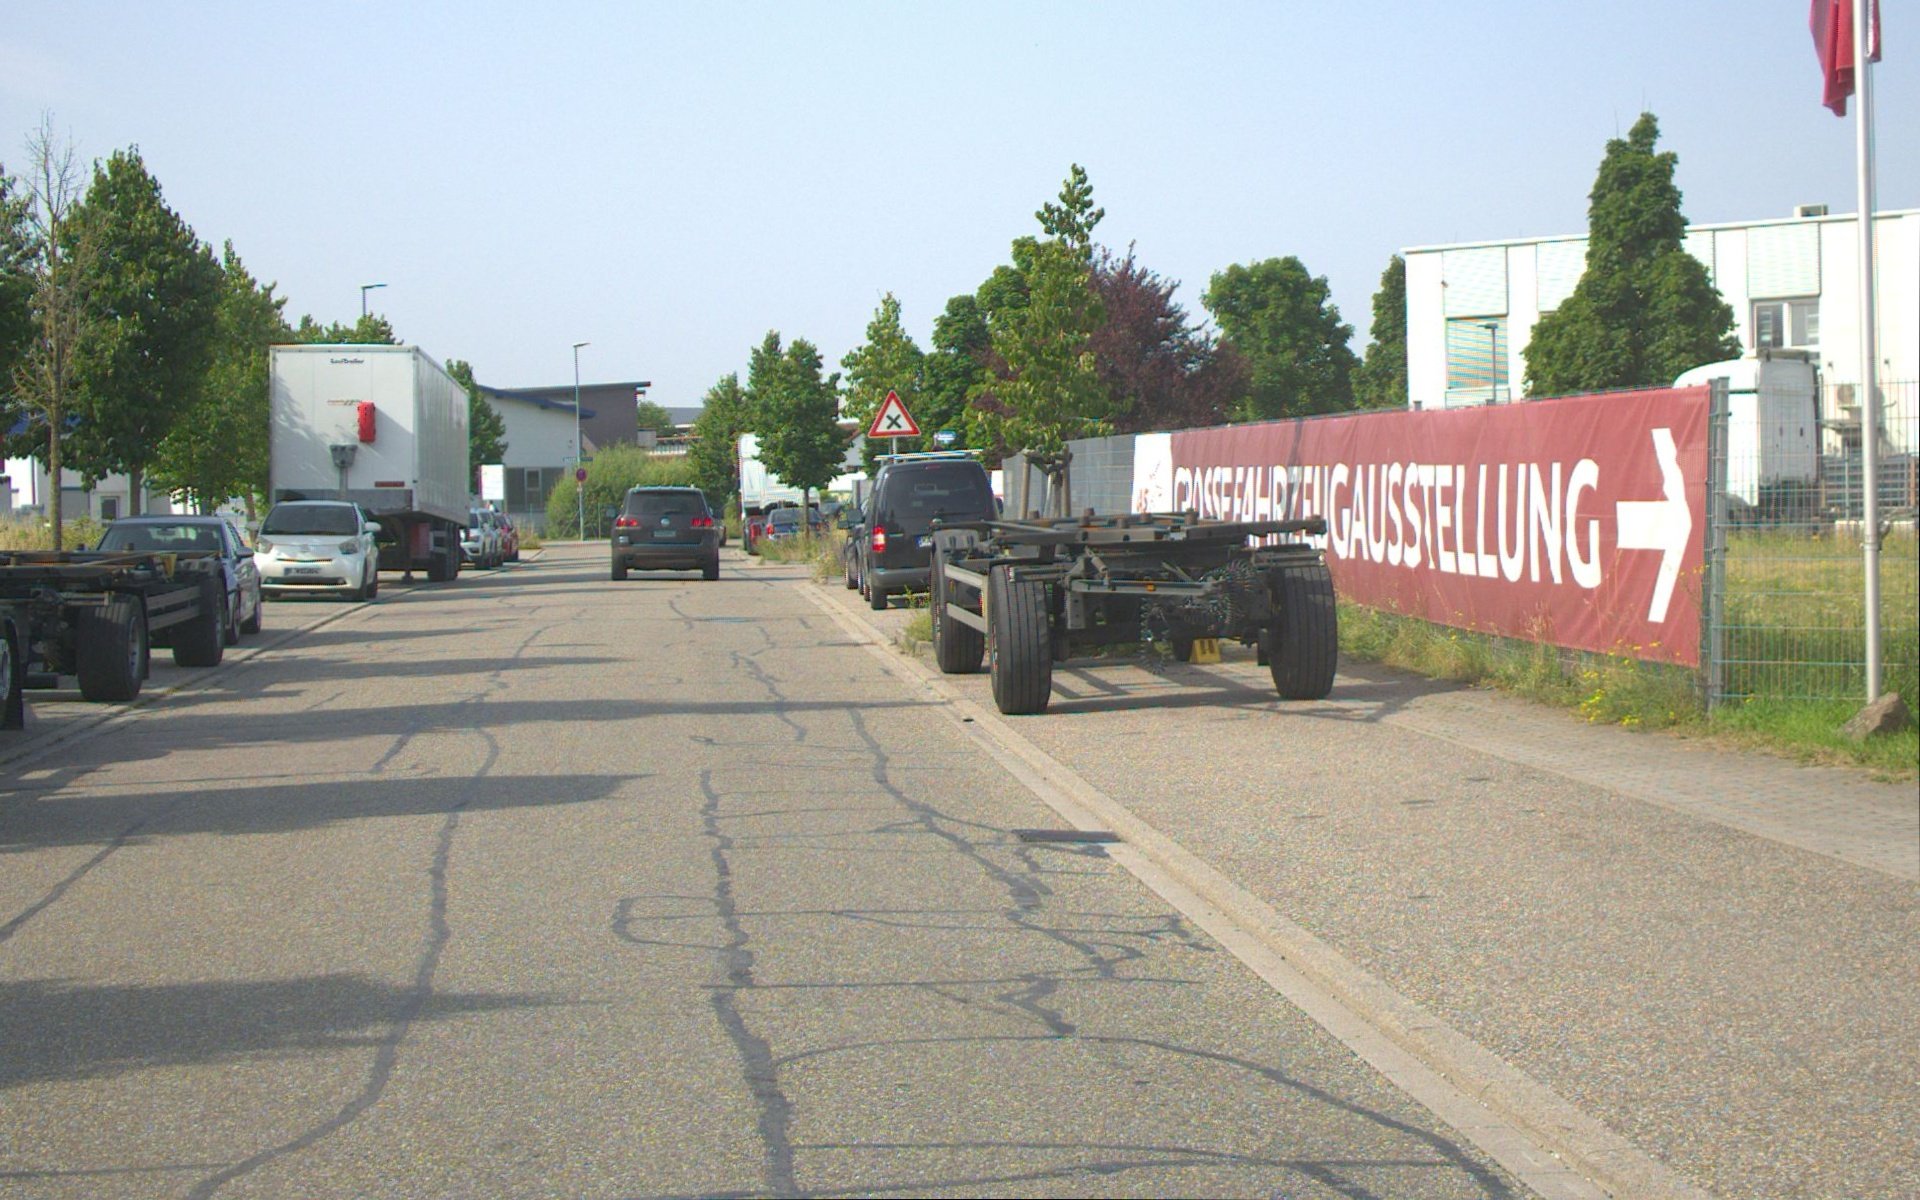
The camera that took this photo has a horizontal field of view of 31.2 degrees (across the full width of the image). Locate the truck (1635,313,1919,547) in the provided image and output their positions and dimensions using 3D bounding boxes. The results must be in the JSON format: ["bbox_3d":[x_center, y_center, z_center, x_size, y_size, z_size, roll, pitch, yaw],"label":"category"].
[{"bbox_3d":[16.528,-2.950,59.682,9.305,3.958,2.453,1,3,39],"label":"truck"}]

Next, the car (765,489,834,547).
[{"bbox_3d":[-4.455,-2.282,95.453,1.818,1.444,3.802,-3,3,-3],"label":"car"}]

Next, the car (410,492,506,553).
[{"bbox_3d":[-13.316,-2.073,91.422,1.993,1.517,4.001,-2,2,-1],"label":"car"}]

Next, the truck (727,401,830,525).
[{"bbox_3d":[-5.598,-4.220,106.096,2.887,3.573,8.063,-3,2,-3],"label":"truck"}]

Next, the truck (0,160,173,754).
[{"bbox_3d":[-7.630,-0.929,22.499,2.626,3.915,12.921,-1,2,-3],"label":"truck"}]

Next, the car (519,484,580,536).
[{"bbox_3d":[-14.572,-3.202,122.230,1.993,1.765,4.001,-2,2,-5],"label":"car"}]

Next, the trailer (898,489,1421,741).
[{"bbox_3d":[1.180,-0.061,26.317,2.623,1.383,9.457,-4,2,-5],"label":"trailer"}]

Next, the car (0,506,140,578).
[{"bbox_3d":[-18.751,-1.161,69.297,3.987,1.335,1.617,-1,3,3],"label":"car"}]

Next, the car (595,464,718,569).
[{"bbox_3d":[-5.488,-1.523,61.836,1.993,1.798,4.001,1,2,-8],"label":"car"}]

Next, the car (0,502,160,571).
[{"bbox_3d":[-18.943,-1.323,71.874,3.987,1.335,1.617,-1,3,3],"label":"car"}]

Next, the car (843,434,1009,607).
[{"bbox_3d":[-0.481,-1.069,44.156,1.818,1.971,4.001,-5,3,-3],"label":"car"}]

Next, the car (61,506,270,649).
[{"bbox_3d":[-8.823,-0.293,38.451,1.884,1.431,4.001,-2,2,-8],"label":"car"}]

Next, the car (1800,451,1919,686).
[{"bbox_3d":[7.721,-0.256,22.548,3.987,1.471,2.172,-2,2,-34],"label":"car"}]

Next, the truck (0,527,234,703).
[{"bbox_3d":[-8.207,0.073,30.834,2.524,1.261,6.528,-2,2,-5],"label":"truck"}]

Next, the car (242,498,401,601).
[{"bbox_3d":[-9.603,-0.799,51.972,1.810,1.422,4.001,-2,2,-3],"label":"car"}]

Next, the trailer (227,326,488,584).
[{"bbox_3d":[-11.284,-2.730,65.930,3.403,4.325,13.923,-2,2,-4],"label":"trailer"}]
